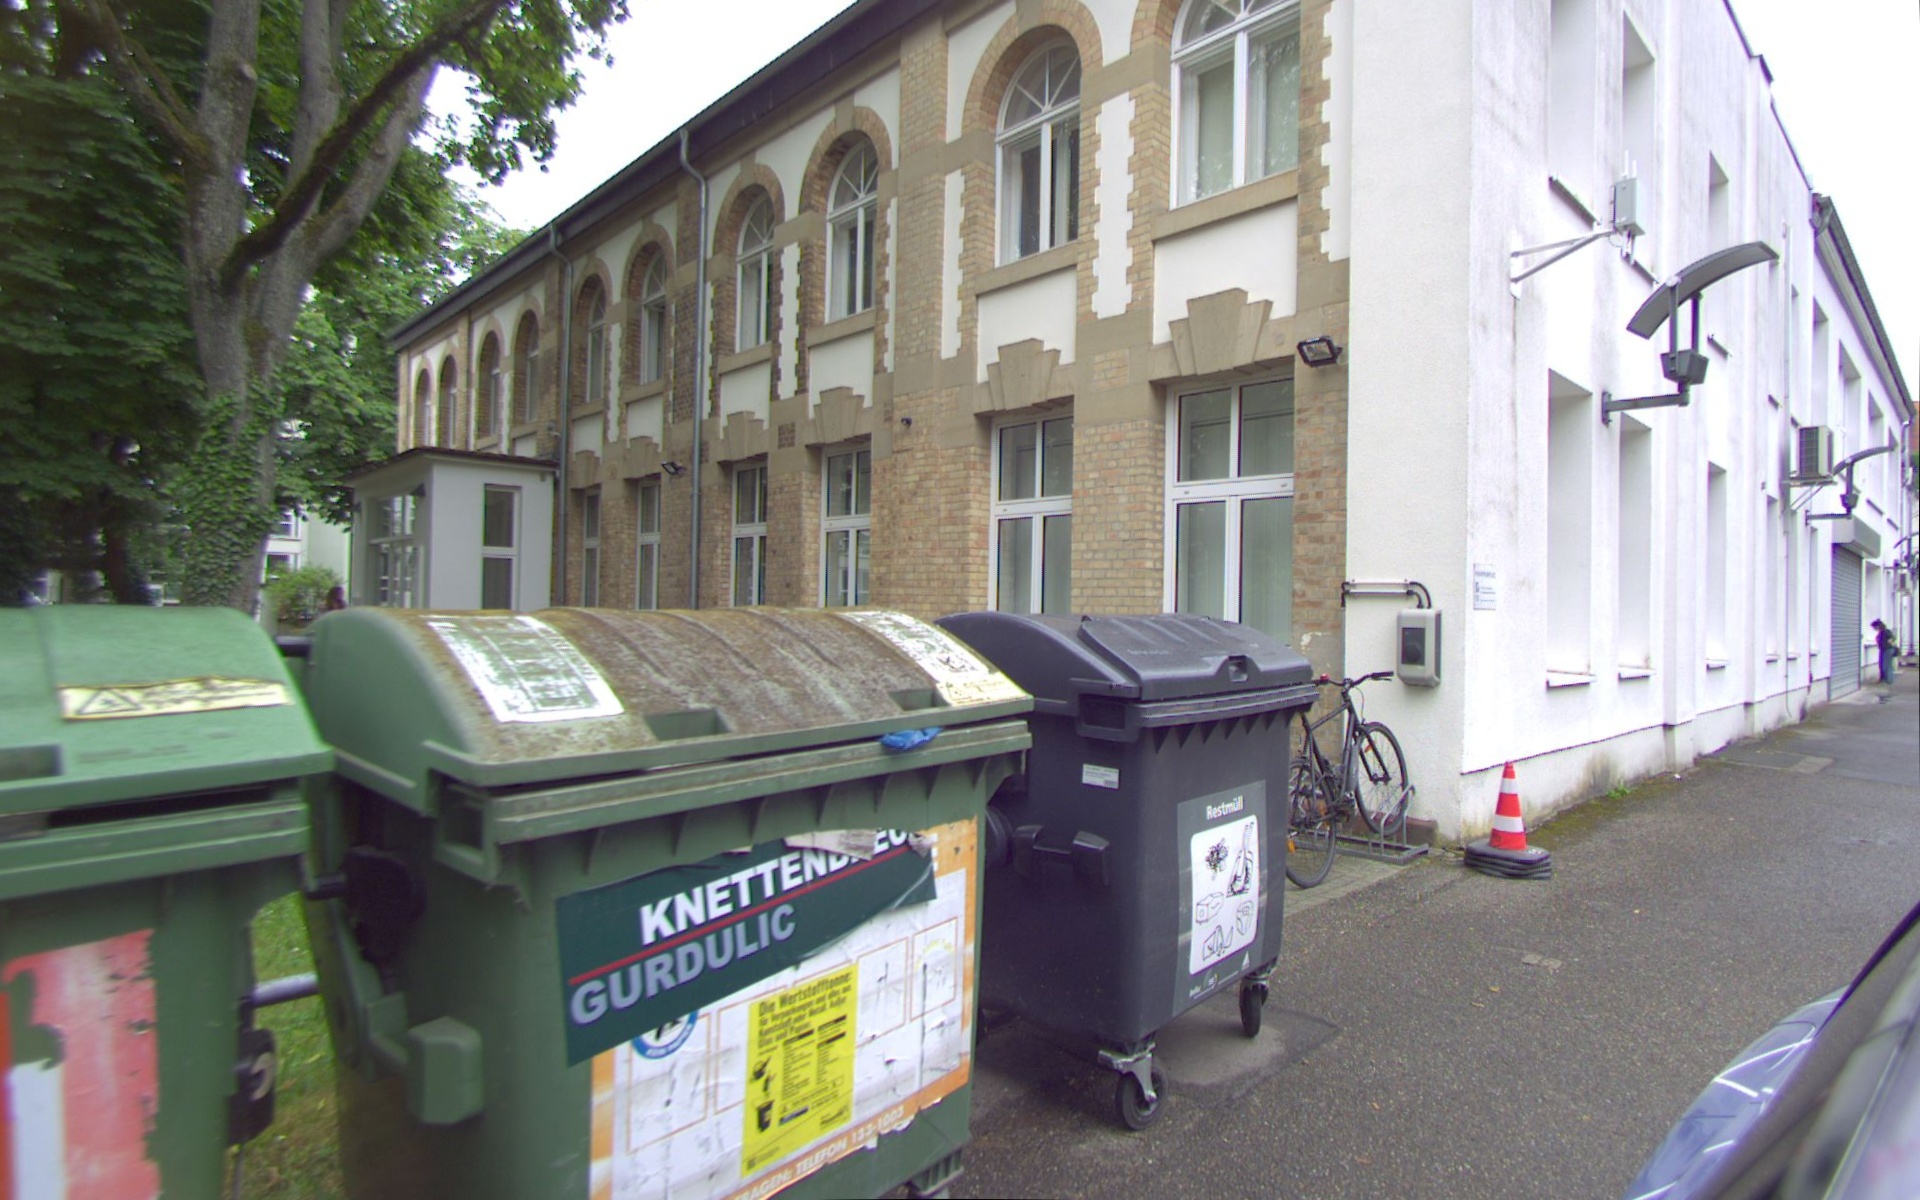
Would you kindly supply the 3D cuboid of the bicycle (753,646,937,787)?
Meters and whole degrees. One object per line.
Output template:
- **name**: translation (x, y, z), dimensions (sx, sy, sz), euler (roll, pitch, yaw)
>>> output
- **bicycle**: translation (-1.016, 1.016, 9.281), dimensions (1.714, 1.129, 0.460), euler (1, -1, -42)

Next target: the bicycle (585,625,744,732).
- **bicycle**: translation (-3.367, 0.864, 11.630), dimensions (1.714, 1.129, 0.460), euler (1, -1, -42)

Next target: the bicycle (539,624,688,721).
- **bicycle**: translation (-4.333, 0.878, 12.733), dimensions (1.714, 1.129, 0.460), euler (1, -1, -42)

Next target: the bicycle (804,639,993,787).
- **bicycle**: translation (-0.496, 0.928, 8.792), dimensions (1.714, 1.129, 0.460), euler (1, -1, -42)

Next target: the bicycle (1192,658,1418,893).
- **bicycle**: translation (2.065, 0.940, 5.927), dimensions (1.714, 1.129, 0.460), euler (1, -1, -42)

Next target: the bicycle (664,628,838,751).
- **bicycle**: translation (-2.079, 0.860, 10.235), dimensions (1.714, 1.129, 0.460), euler (1, -1, -42)

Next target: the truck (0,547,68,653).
- **truck**: translation (-24.523, -0.013, 23.804), dimensions (2.141, 2.578, 4.897), euler (1, 0, 19)

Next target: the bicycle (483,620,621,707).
- **bicycle**: translation (-5.646, 0.852, 14.081), dimensions (1.714, 1.129, 0.460), euler (1, -1, -42)

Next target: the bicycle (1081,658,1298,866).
- **bicycle**: translation (1.539, 0.978, 6.594), dimensions (1.714, 1.129, 0.460), euler (1, -1, -42)

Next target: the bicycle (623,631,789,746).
- **bicycle**: translation (-2.717, 0.914, 10.966), dimensions (1.714, 1.129, 0.460), euler (1, -1, -42)

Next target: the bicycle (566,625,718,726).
- **bicycle**: translation (-3.818, 0.876, 12.250), dimensions (1.714, 1.129, 0.460), euler (1, -1, -42)

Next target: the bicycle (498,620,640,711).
- **bicycle**: translation (-5.188, 0.839, 13.504), dimensions (1.714, 1.129, 0.460), euler (1, -1, -42)

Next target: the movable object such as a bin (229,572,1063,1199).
- **movable object such as a bin**: translation (-0.611, 0.704, 2.148), dimensions (1.104, 1.469, 1.307), euler (0, -1, 41)

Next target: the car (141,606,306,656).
- **car**: translation (-22.212, 0.898, 30.711), dimensions (1.786, 1.371, 3.793), euler (1, 0, 15)

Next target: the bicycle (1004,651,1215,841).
- **bicycle**: translation (1.089, 0.953, 7.098), dimensions (1.714, 1.129, 0.460), euler (1, -1, -42)

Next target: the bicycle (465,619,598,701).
- **bicycle**: translation (-6.236, 0.845, 14.785), dimensions (1.714, 1.129, 0.460), euler (1, -1, -42)

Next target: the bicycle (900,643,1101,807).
- **bicycle**: translation (0.357, 0.932, 8.004), dimensions (1.713, 1.129, 0.460), euler (1, -1, -40)

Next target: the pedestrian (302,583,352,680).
- **pedestrian**: translation (-10.747, 0.515, 17.186), dimensions (0.594, 1.607, 0.626), euler (1, -1, -44)

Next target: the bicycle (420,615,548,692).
- **bicycle**: translation (-7.346, 0.803, 15.676), dimensions (1.714, 1.129, 0.460), euler (1, -1, -42)

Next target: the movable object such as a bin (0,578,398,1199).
- **movable object such as a bin**: translation (-1.605, 0.705, 1.259), dimensions (1.104, 1.469, 1.275), euler (0, -1, 41)

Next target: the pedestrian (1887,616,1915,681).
- **pedestrian**: translation (23.469, 1.191, 25.251), dimensions (0.497, 1.582, 0.422), euler (0, -1, 43)

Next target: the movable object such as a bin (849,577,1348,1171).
- **movable object such as a bin**: translation (0.500, 0.683, 3.390), dimensions (1.104, 1.469, 1.342), euler (0, -1, 41)
